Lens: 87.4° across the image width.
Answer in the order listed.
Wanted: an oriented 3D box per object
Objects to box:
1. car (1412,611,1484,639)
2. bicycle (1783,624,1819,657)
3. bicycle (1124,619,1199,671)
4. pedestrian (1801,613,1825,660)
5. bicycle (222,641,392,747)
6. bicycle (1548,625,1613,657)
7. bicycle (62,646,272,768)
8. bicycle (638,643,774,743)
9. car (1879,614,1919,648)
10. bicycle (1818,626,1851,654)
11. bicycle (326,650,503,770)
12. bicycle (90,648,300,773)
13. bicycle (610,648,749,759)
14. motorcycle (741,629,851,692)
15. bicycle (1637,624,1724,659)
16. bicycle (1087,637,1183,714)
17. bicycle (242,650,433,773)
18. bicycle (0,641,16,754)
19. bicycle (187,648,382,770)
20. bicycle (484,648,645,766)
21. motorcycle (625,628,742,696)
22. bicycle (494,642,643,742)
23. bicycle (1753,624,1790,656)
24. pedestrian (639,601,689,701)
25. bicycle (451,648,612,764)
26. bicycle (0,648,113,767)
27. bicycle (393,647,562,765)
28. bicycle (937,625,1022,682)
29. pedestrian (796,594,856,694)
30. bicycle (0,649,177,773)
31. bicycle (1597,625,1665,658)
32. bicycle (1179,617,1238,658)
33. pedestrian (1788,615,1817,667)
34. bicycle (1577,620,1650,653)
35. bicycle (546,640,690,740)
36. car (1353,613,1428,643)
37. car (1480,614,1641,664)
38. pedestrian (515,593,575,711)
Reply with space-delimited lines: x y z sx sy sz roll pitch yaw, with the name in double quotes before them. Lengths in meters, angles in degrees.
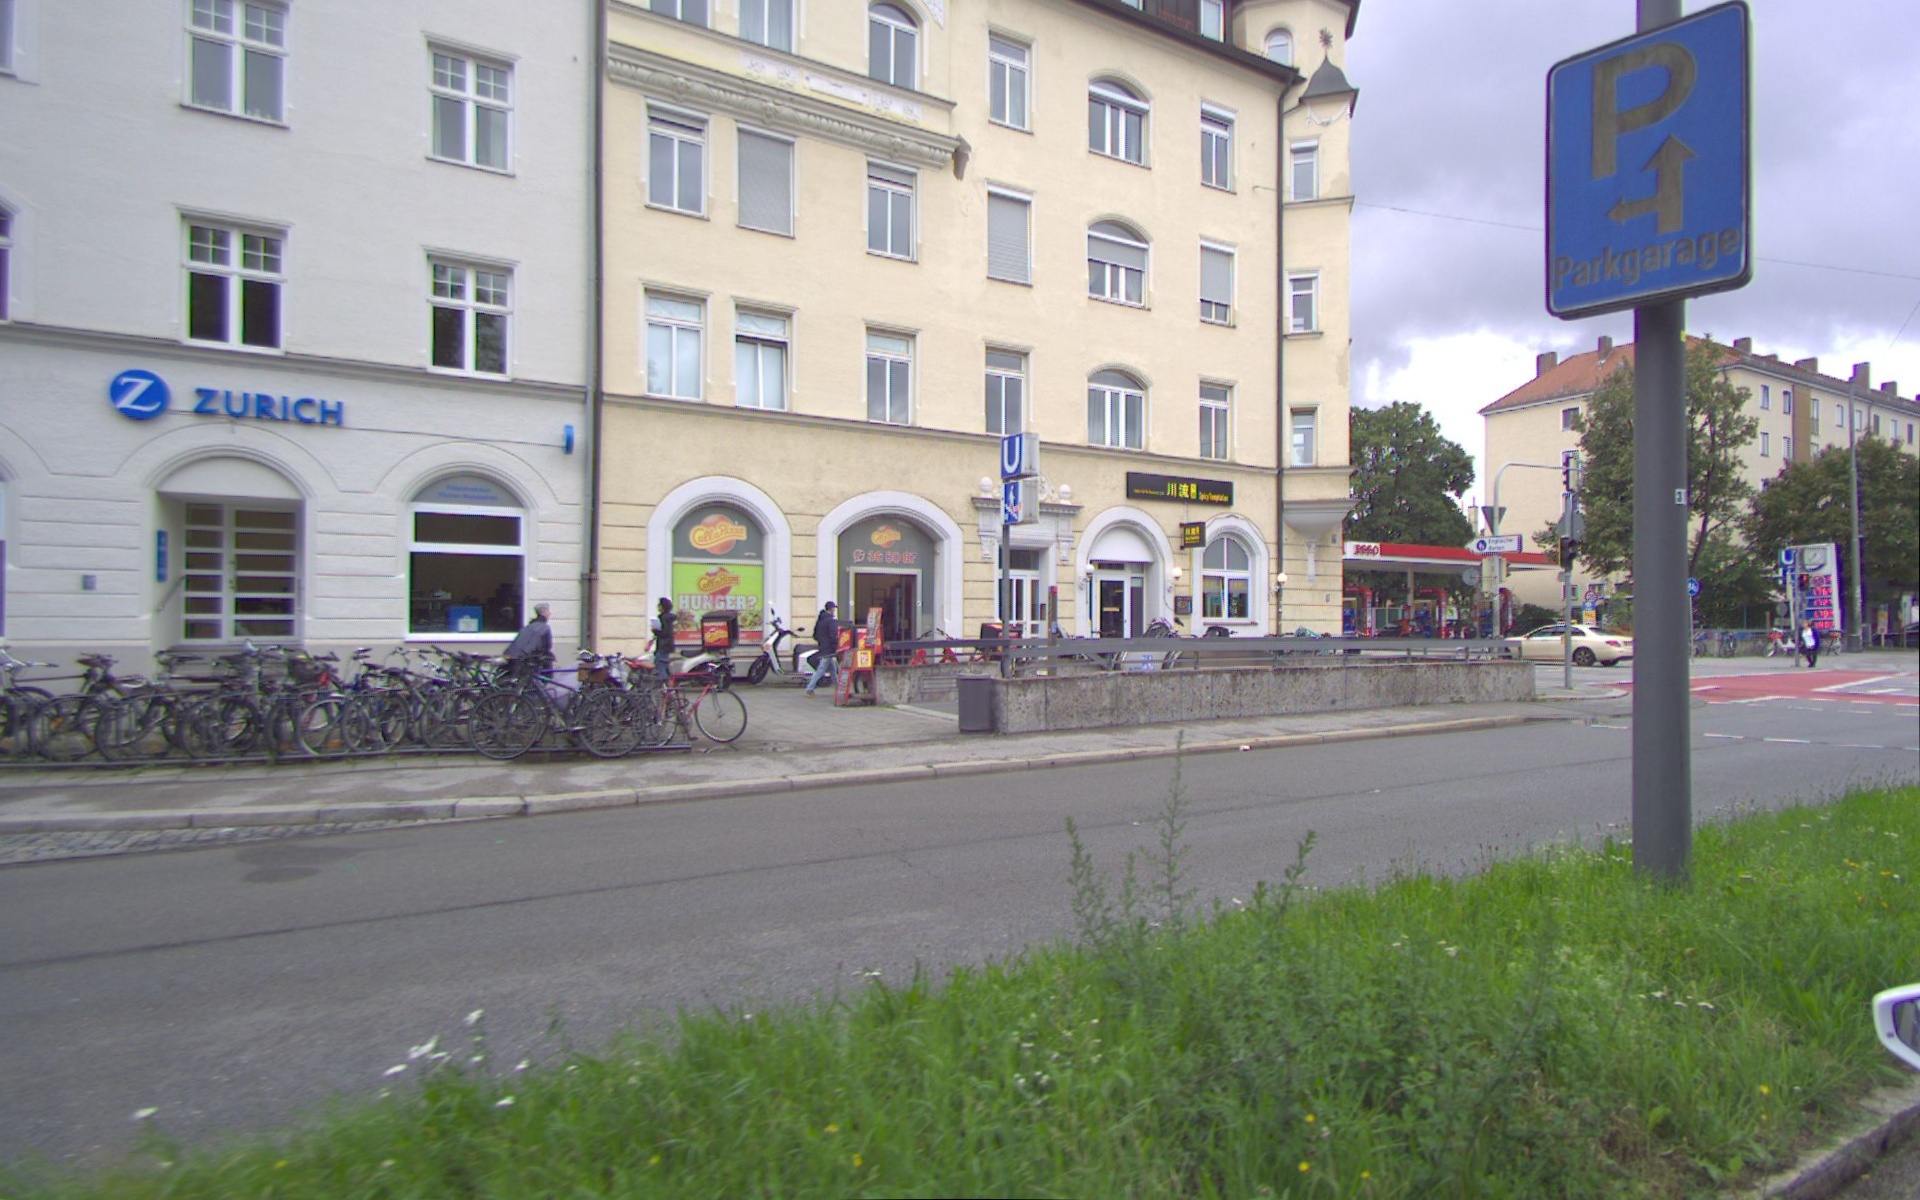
"car" 32.053 1.624 66.041 1.835 1.808 3.969 1 -1 -29
"bicycle" 33.288 1.585 39.758 2.166 1.252 0.604 1 -1 -36
"bicycle" 3.998 0.875 19.908 1.526 0.993 0.470 1 -1 -30
"pedestrian" 31.904 1.360 37.573 0.581 1.718 0.576 0 -1 30
"bicycle" -7.653 1.069 11.849 0.325 1.130 1.674 0 -1 37
"bicycle" 25.765 1.690 41.741 0.759 1.252 2.163 1 -1 -38
"bicycle" -8.148 1.061 10.400 0.325 1.130 1.674 0 -1 37
"bicycle" -3.148 1.122 12.600 0.390 1.130 1.807 0 -1 37
"car" 53.493 1.679 55.309 1.859 1.862 3.966 1 -1 -31
"bicycle" 36.670 1.674 42.112 1.947 1.160 0.604 1 -1 -36
"bicycle" -5.777 1.128 10.726 0.325 1.130 1.674 0 -1 37
"bicycle" -7.747 1.079 10.246 0.325 1.130 1.674 0 -1 37
"bicycle" -3.148 1.139 11.428 0.325 1.130 1.674 0 -1 37
"motorcycle" -3.105 1.133 19.060 1.947 1.137 0.610 1 -1 11
"bicycle" 28.291 1.615 39.497 2.664 1.267 0.792 2 1 31
"bicycle" 2.786 1.168 15.873 1.798 1.130 0.392 1 -1 -38
"bicycle" -6.433 1.114 10.465 0.376 1.130 1.674 0 -1 37
"bicycle" -10.257 0.982 9.670 0.325 1.130 1.677 0 -1 33
"bicycle" -6.996 1.095 10.480 0.325 1.130 1.674 0 -1 37
"bicycle" -4.213 1.103 10.809 0.362 1.130 1.674 0 -1 37
"motorcycle" -4.981 1.099 18.094 1.947 1.145 0.610 1 -1 11
"bicycle" -4.846 1.109 12.561 0.390 1.130 1.807 0 -1 37
"bicycle" 32.268 1.580 39.926 2.166 1.252 0.604 1 -1 -36
"pedestrian" -5.010 0.858 16.998 0.772 1.653 0.420 0 -1 -24
"bicycle" -4.613 1.109 10.922 0.325 1.130 1.674 0 -1 37
"bicycle" -9.549 1.065 9.860 0.325 1.130 1.868 0 -1 37
"bicycle" -5.164 1.100 10.848 0.361 1.130 1.674 0 -1 37
"bicycle" 0.359 0.954 18.265 1.526 0.993 0.470 1 -1 -30
"pedestrian" -2.355 0.758 17.747 0.583 1.719 0.943 0 -1 33
"bicycle" -8.978 1.081 9.974 0.325 1.130 1.868 0 -1 37
"bicycle" 26.759 1.653 40.085 0.760 1.252 2.161 1 -1 -40
"bicycle" 6.126 0.915 24.734 1.526 0.993 0.470 1 -1 -30
"pedestrian" 28.502 1.376 33.979 0.568 1.718 0.534 0 -1 -18
"bicycle" 26.831 1.481 41.283 0.785 1.267 2.374 1 1 -39
"bicycle" -4.251 1.092 12.618 0.390 1.130 1.807 0 -1 37
"car" 26.525 1.687 61.954 1.835 1.808 3.969 1 -1 -29
"car" 21.452 1.330 36.096 1.765 1.668 4.741 1 -1 -31
"pedestrian" -6.273 0.771 15.192 0.762 1.719 0.540 1 -1 -31
